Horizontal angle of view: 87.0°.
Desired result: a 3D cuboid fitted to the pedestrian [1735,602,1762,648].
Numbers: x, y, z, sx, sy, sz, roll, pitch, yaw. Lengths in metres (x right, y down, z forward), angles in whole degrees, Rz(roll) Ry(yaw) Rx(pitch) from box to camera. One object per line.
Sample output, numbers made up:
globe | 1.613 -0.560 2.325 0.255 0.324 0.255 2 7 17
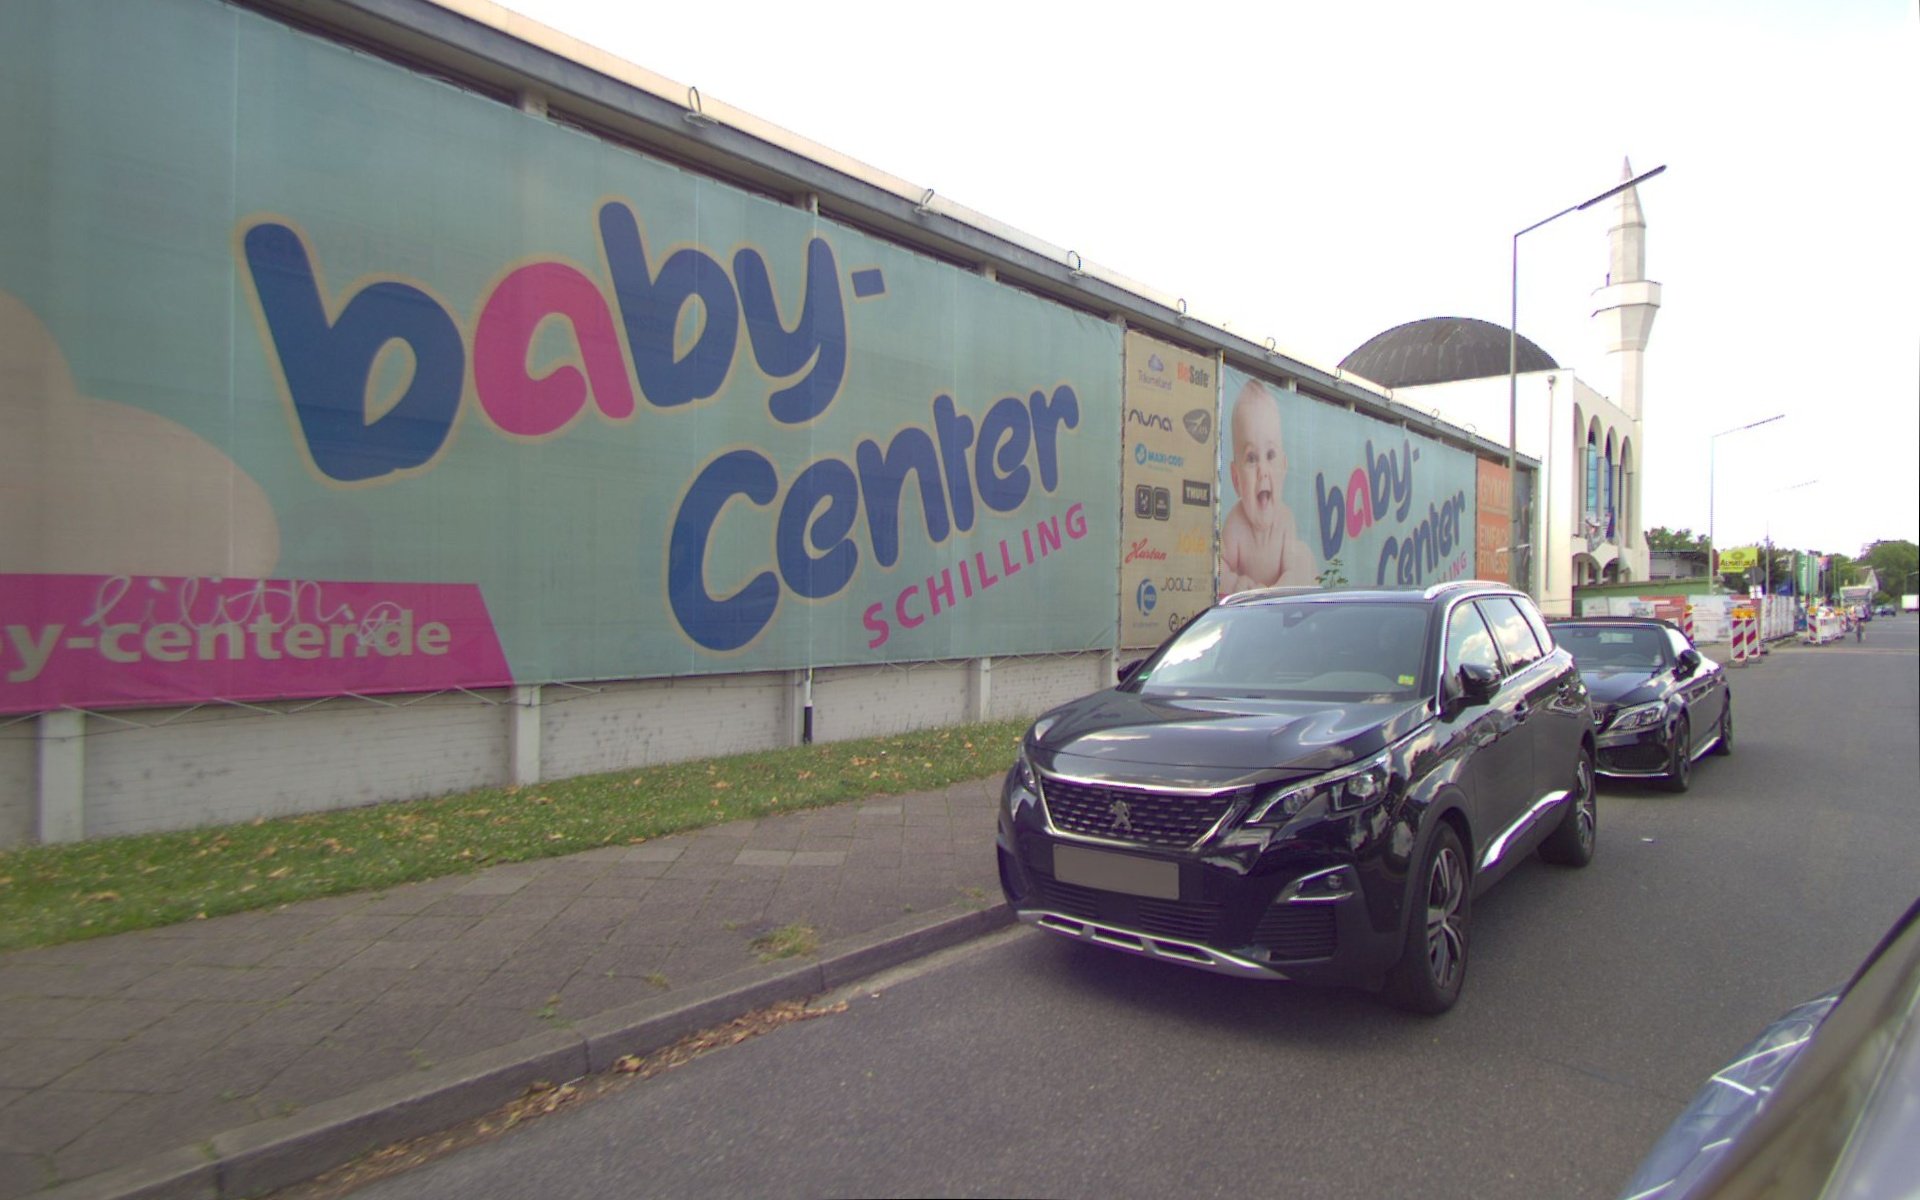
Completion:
pedestrian | 27.972 0.873 35.904 0.680 1.553 1.113 0 0 42

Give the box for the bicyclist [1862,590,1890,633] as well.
bicyclist | 39.249 0.492 43.370 0.806 1.815 1.188 -2 -1 42

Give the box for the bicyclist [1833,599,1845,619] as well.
bicyclist | 90.132 0.919 103.769 0.815 1.933 0.795 0 4 -45

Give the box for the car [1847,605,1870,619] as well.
car | 89.076 1.184 100.323 1.660 1.358 3.924 -4 -3 42

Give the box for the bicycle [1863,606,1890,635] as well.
bicycle | 39.248 0.862 43.345 0.797 1.195 2.586 -1 -1 42

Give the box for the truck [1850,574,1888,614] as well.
truck | 98.657 -0.604 109.777 2.777 4.170 8.150 -3 -2 43

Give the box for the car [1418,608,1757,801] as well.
car | 6.179 0.808 9.707 1.808 1.409 4.514 -3 -2 44

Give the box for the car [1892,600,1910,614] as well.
car | 138.734 1.053 149.224 1.791 1.916 3.939 1 0 42

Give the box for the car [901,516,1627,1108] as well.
car | 1.954 0.637 5.224 1.806 1.687 4.569 -3 -2 42
